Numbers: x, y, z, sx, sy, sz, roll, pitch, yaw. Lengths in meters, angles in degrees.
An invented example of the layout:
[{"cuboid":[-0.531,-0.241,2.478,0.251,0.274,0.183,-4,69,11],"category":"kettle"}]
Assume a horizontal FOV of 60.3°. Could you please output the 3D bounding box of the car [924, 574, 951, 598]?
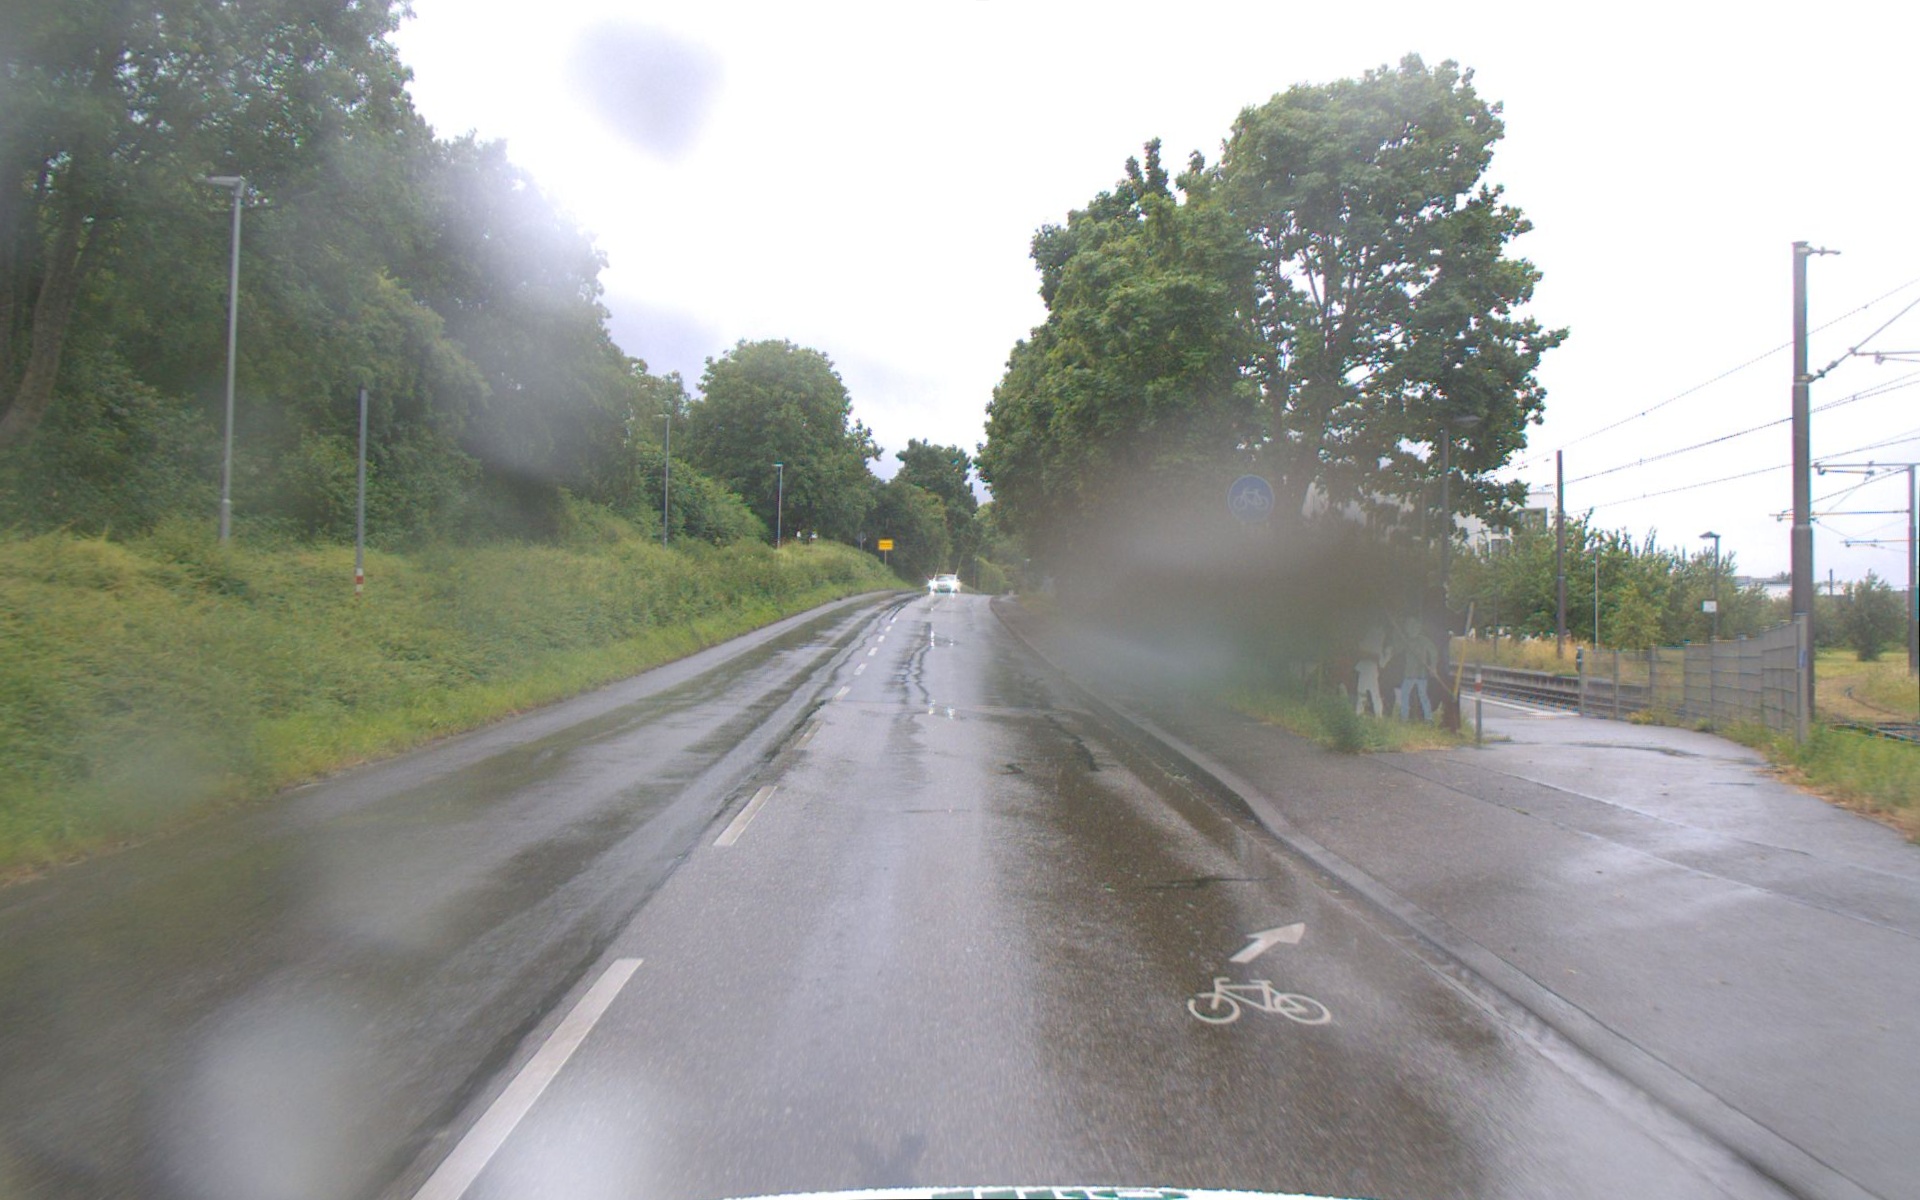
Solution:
[{"cuboid":[-1.549,-0.983,115.918,1.745,1.530,4.001,1,2,0],"category":"car"}]
